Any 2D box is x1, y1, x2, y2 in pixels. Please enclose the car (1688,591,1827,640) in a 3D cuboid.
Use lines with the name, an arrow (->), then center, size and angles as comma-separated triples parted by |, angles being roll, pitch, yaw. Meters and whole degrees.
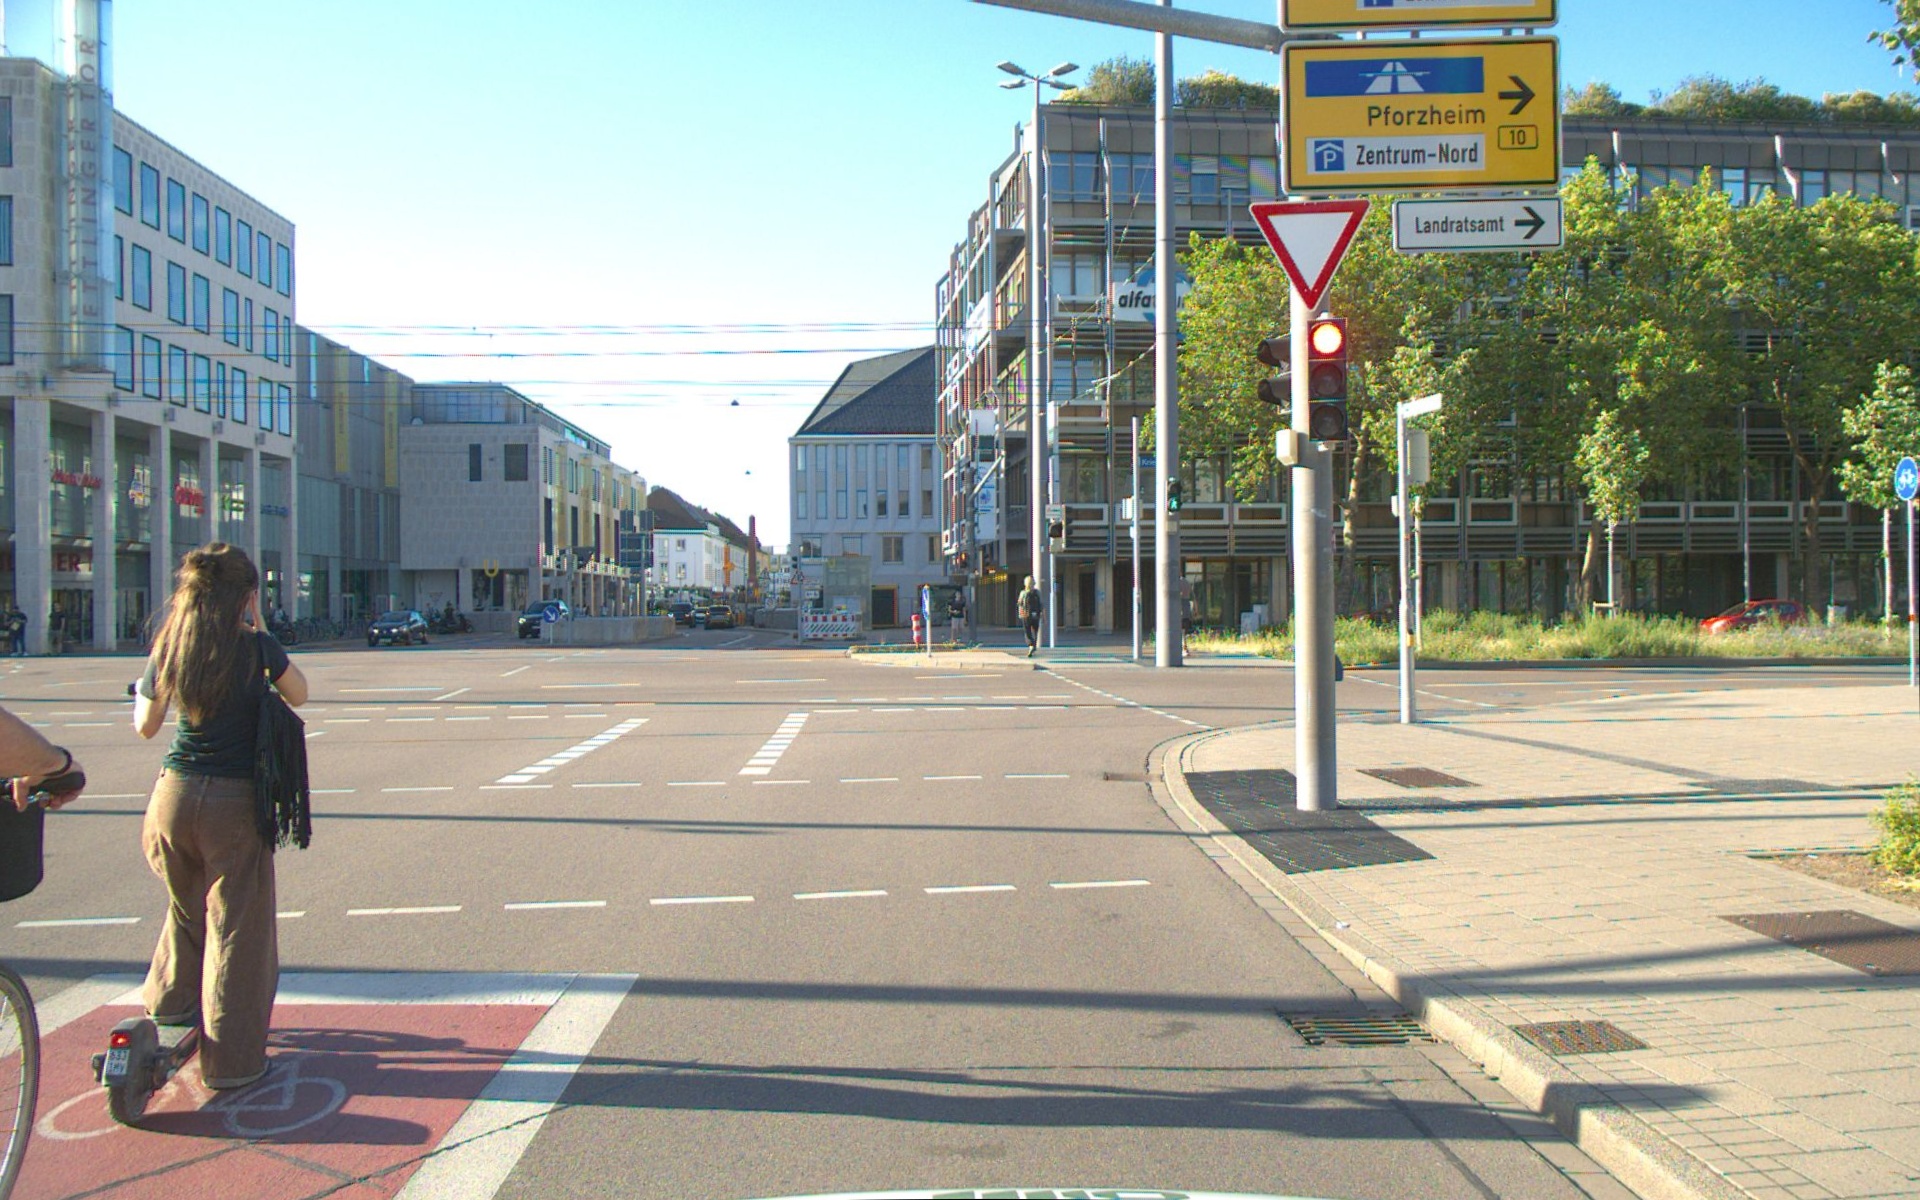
car -> 26.930, 0.544, 55.900 | 3.792, 1.512, 1.844 | -1, -3, -5

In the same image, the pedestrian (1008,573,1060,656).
pedestrian -> 1.441, 0.266, 32.253 | 0.879, 1.576, 0.922 | -1, 1, -7

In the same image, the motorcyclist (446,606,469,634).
motorcyclist -> -29.583, 1.169, 97.356 | 1.115, 1.602, 0.915 | 1, -1, -8

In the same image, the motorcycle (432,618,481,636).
motorcycle -> -29.613, 1.602, 97.337 | 2.617, 1.013, 0.915 | 1, 0, -8

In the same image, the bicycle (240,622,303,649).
bicycle -> -29.463, 1.506, 70.814 | 2.416, 1.130, 0.684 | -1, 0, 1

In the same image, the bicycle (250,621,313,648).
bicycle -> -29.383, 1.495, 71.624 | 2.417, 1.130, 0.684 | -1, 0, 0

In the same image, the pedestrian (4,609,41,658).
pedestrian -> -32.921, 1.166, 58.081 | 0.998, 1.680, 0.935 | 0, 0, -39

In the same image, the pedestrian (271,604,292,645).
pedestrian -> -33.351, 1.205, 81.304 | 0.933, 2.017, 1.000 | 0, 0, -25

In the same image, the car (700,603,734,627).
car -> -15.871, 0.979, 108.073 | 1.898, 1.475, 4.258 | 0, -1, -4

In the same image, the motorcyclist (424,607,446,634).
motorcyclist -> -29.813, 1.178, 93.867 | 1.017, 1.497, 0.915 | 1, 0, -8

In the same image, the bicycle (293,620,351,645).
bicycle -> -29.678, 1.523, 76.971 | 2.417, 1.130, 0.684 | -1, 0, 0

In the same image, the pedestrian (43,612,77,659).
pedestrian -> -31.199, 1.219, 57.326 | 0.936, 1.598, 0.830 | 0, 0, -37

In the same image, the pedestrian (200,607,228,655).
pedestrian -> -27.754, 1.165, 61.541 | 0.736, 1.770, 0.756 | 0, 0, -3

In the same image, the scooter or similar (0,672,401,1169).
scooter or similar -> -2.208, 0.848, 4.965 | 0.629, 1.196, 1.482 | 1, 0, -4

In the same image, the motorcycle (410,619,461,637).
motorcycle -> -29.740, 1.585, 93.886 | 2.617, 1.013, 0.915 | 1, 0, -8

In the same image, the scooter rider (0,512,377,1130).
scooter rider -> -2.181, 0.564, 4.789 | 0.629, 1.571, 1.116 | 1, 0, -4

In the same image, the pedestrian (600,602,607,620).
pedestrian -> -28.094, 0.852, 130.450 | 0.479, 1.380, 0.563 | 1, -1, -7

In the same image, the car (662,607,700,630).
car -> -21.659, 1.430, 128.683 | 2.130, 1.722, 5.485 | 0, -1, -1

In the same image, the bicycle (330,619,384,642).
bicycle -> -30.391, 1.551, 83.357 | 2.417, 1.130, 0.835 | -1, 0, 0

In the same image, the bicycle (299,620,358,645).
bicycle -> -29.715, 1.525, 77.822 | 2.417, 1.130, 0.835 | -1, 0, 0

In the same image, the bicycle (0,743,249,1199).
bicycle -> -1.968, 0.896, 2.933 | 0.692, 1.113, 1.799 | -1, 0, -2

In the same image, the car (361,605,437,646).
car -> -23.582, 1.045, 69.664 | 1.899, 1.608, 4.292 | -1, 0, -3

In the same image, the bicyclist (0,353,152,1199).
bicyclist -> -1.979, 0.430, 2.960 | 0.685, 1.698, 0.786 | -1, 0, -3

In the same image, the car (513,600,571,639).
car -> -19.104, 0.865, 75.792 | 1.900, 1.707, 4.289 | -1, 0, -5

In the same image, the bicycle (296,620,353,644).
bicycle -> -30.236, 1.527, 78.740 | 2.417, 1.130, 0.684 | -1, 0, 0

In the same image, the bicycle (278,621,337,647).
bicycle -> -29.574, 1.523, 74.971 | 2.417, 1.130, 0.593 | -1, 0, 0

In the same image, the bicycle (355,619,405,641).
bicycle -> -30.432, 1.555, 86.796 | 2.417, 1.130, 0.660 | -1, 0, 0

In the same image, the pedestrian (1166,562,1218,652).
pedestrian -> 4.614, 0.130, 32.938 | 0.839, 1.774, 0.738 | -1, 1, -9

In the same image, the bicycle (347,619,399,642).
bicycle -> -30.387, 1.562, 85.623 | 2.417, 1.130, 0.631 | -1, 0, 0

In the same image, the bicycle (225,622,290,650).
bicycle -> -29.484, 1.517, 69.449 | 2.417, 1.130, 0.684 | -1, 0, -1

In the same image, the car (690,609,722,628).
car -> -23.497, 1.704, 152.914 | 2.130, 1.722, 5.614 | 0, -1, -1

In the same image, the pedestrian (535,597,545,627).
pedestrian -> -29.425, 0.850, 115.886 | 0.606, 2.049, 0.476 | 1, -1, -16

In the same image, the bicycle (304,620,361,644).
bicycle -> -30.349, 1.530, 79.989 | 2.417, 1.130, 0.835 | -1, 0, 0

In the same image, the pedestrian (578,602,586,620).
pedestrian -> -28.699, 0.821, 125.605 | 0.479, 1.380, 0.563 | 1, -1, -7

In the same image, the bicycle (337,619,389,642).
bicycle -> -30.374, 1.543, 84.185 | 2.417, 1.130, 0.660 | -1, 0, 0

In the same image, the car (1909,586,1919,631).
car -> 38.419, 0.319, 62.025 | 4.764, 1.709, 1.996 | 0, 1, -10

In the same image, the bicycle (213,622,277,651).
bicycle -> -29.438, 1.510, 68.103 | 2.354, 1.132, 0.658 | -1, 0, -1

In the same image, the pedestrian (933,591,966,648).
pedestrian -> -0.350, 0.659, 57.346 | 0.990, 1.944, 1.051 | 0, 0, 8

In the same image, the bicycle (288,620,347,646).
bicycle -> -29.603, 1.528, 76.196 | 2.417, 1.130, 0.684 | -1, 0, 0

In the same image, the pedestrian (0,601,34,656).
pedestrian -> -35.601, 1.057, 62.412 | 0.898, 2.049, 1.020 | 0, 0, -13
